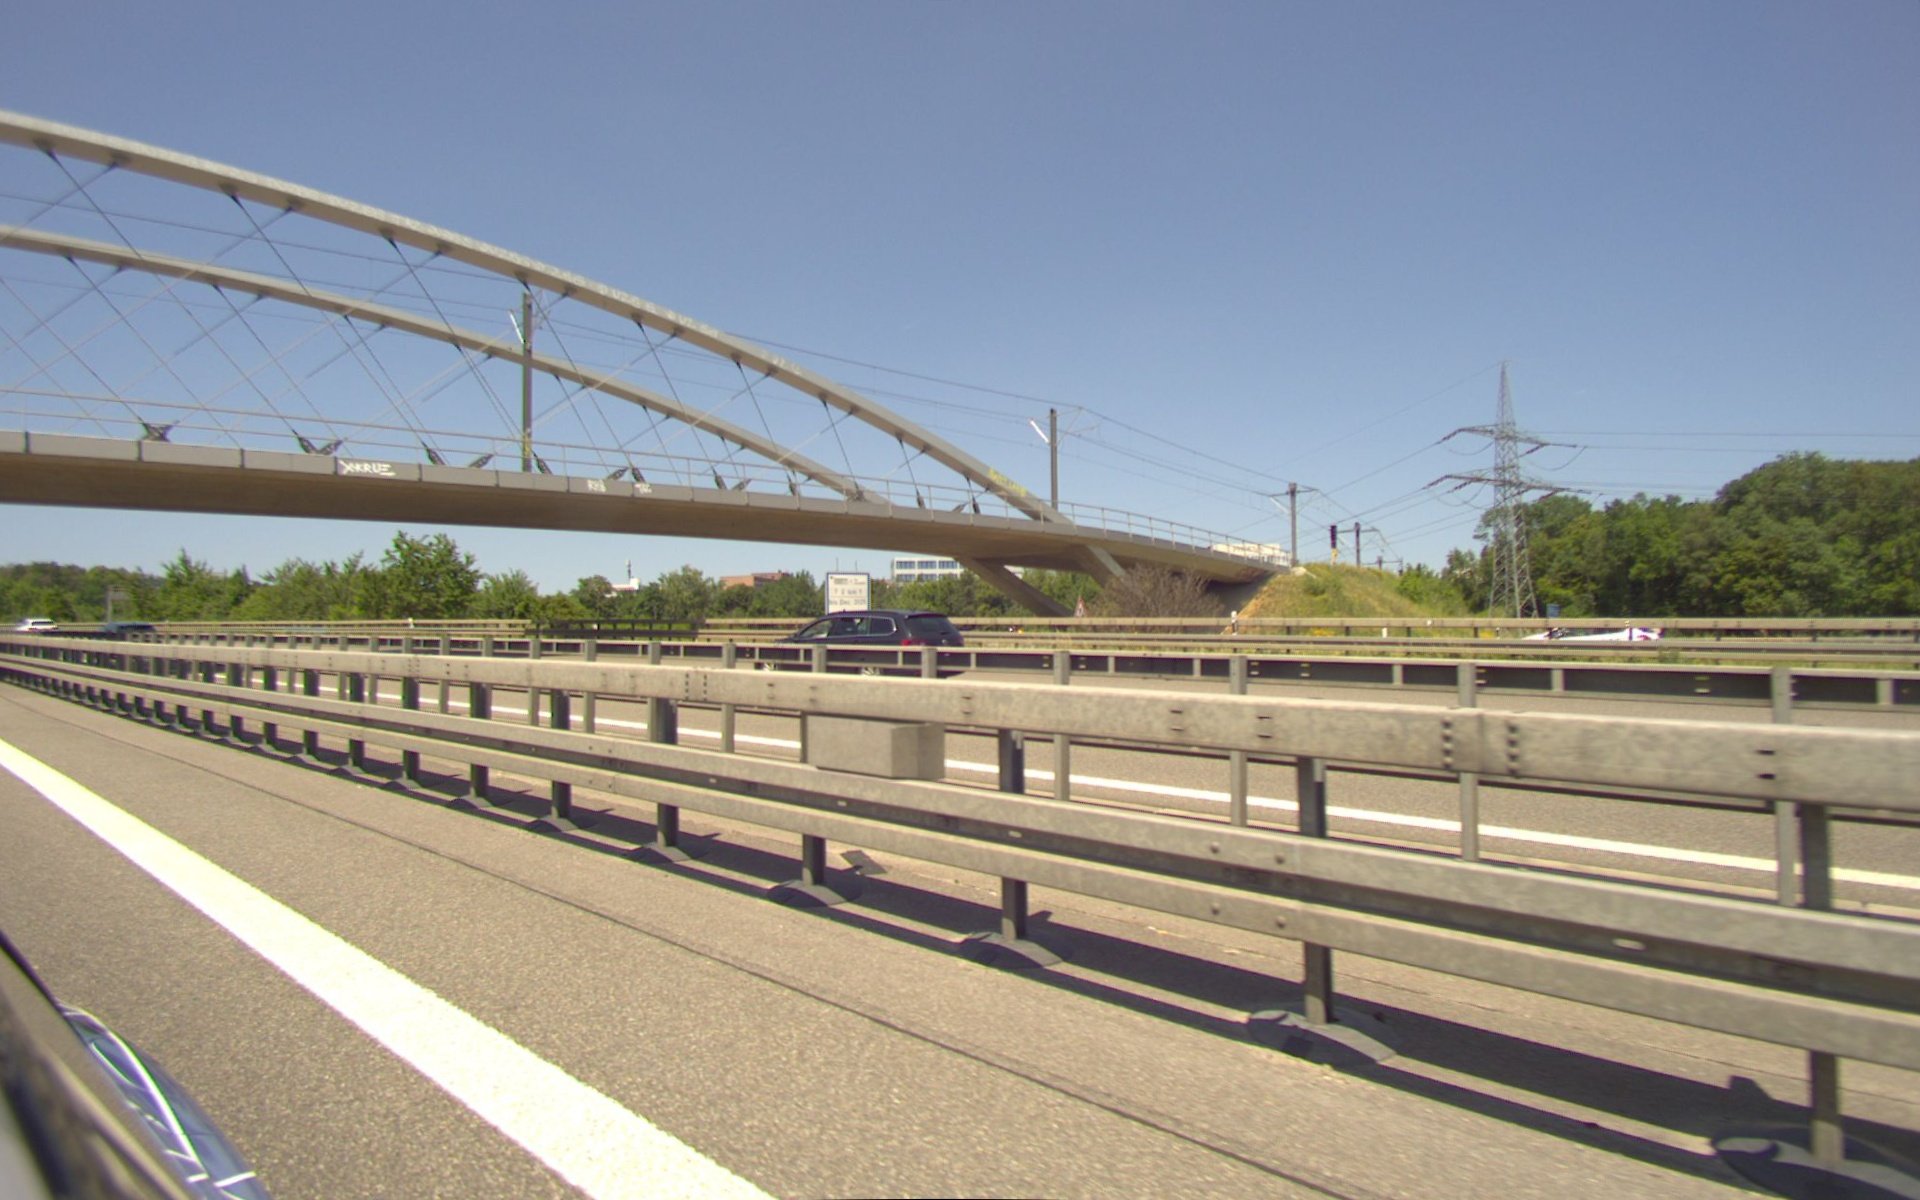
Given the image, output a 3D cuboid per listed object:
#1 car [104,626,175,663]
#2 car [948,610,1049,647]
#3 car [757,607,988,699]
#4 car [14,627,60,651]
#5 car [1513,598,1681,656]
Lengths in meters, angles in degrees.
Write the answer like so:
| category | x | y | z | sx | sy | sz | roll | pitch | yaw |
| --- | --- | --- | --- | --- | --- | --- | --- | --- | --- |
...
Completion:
| category | x | y | z | sx | sy | sz | roll | pitch | yaw |
| --- | --- | --- | --- | --- | --- | --- | --- | --- | --- |
| car | -33.409 | 1.771 | 41.160 | 4.098 | 1.422 | 1.613 | -2 | -1 | 42 |
| car | 1.711 | 1.295 | 46.142 | 4.321 | 1.630 | 1.972 | -2 | -1 | 42 |
| car | -1.712 | 0.903 | 18.728 | 4.443 | 1.475 | 1.641 | -1 | 0 | 41 |
| car | -66.362 | 2.775 | 72.718 | 4.974 | 1.651 | 1.908 | -2 | -1 | 41 |
| car | 19.126 | 0.797 | 30.470 | 3.998 | 1.630 | 1.972 | -2 | -1 | 42 |
